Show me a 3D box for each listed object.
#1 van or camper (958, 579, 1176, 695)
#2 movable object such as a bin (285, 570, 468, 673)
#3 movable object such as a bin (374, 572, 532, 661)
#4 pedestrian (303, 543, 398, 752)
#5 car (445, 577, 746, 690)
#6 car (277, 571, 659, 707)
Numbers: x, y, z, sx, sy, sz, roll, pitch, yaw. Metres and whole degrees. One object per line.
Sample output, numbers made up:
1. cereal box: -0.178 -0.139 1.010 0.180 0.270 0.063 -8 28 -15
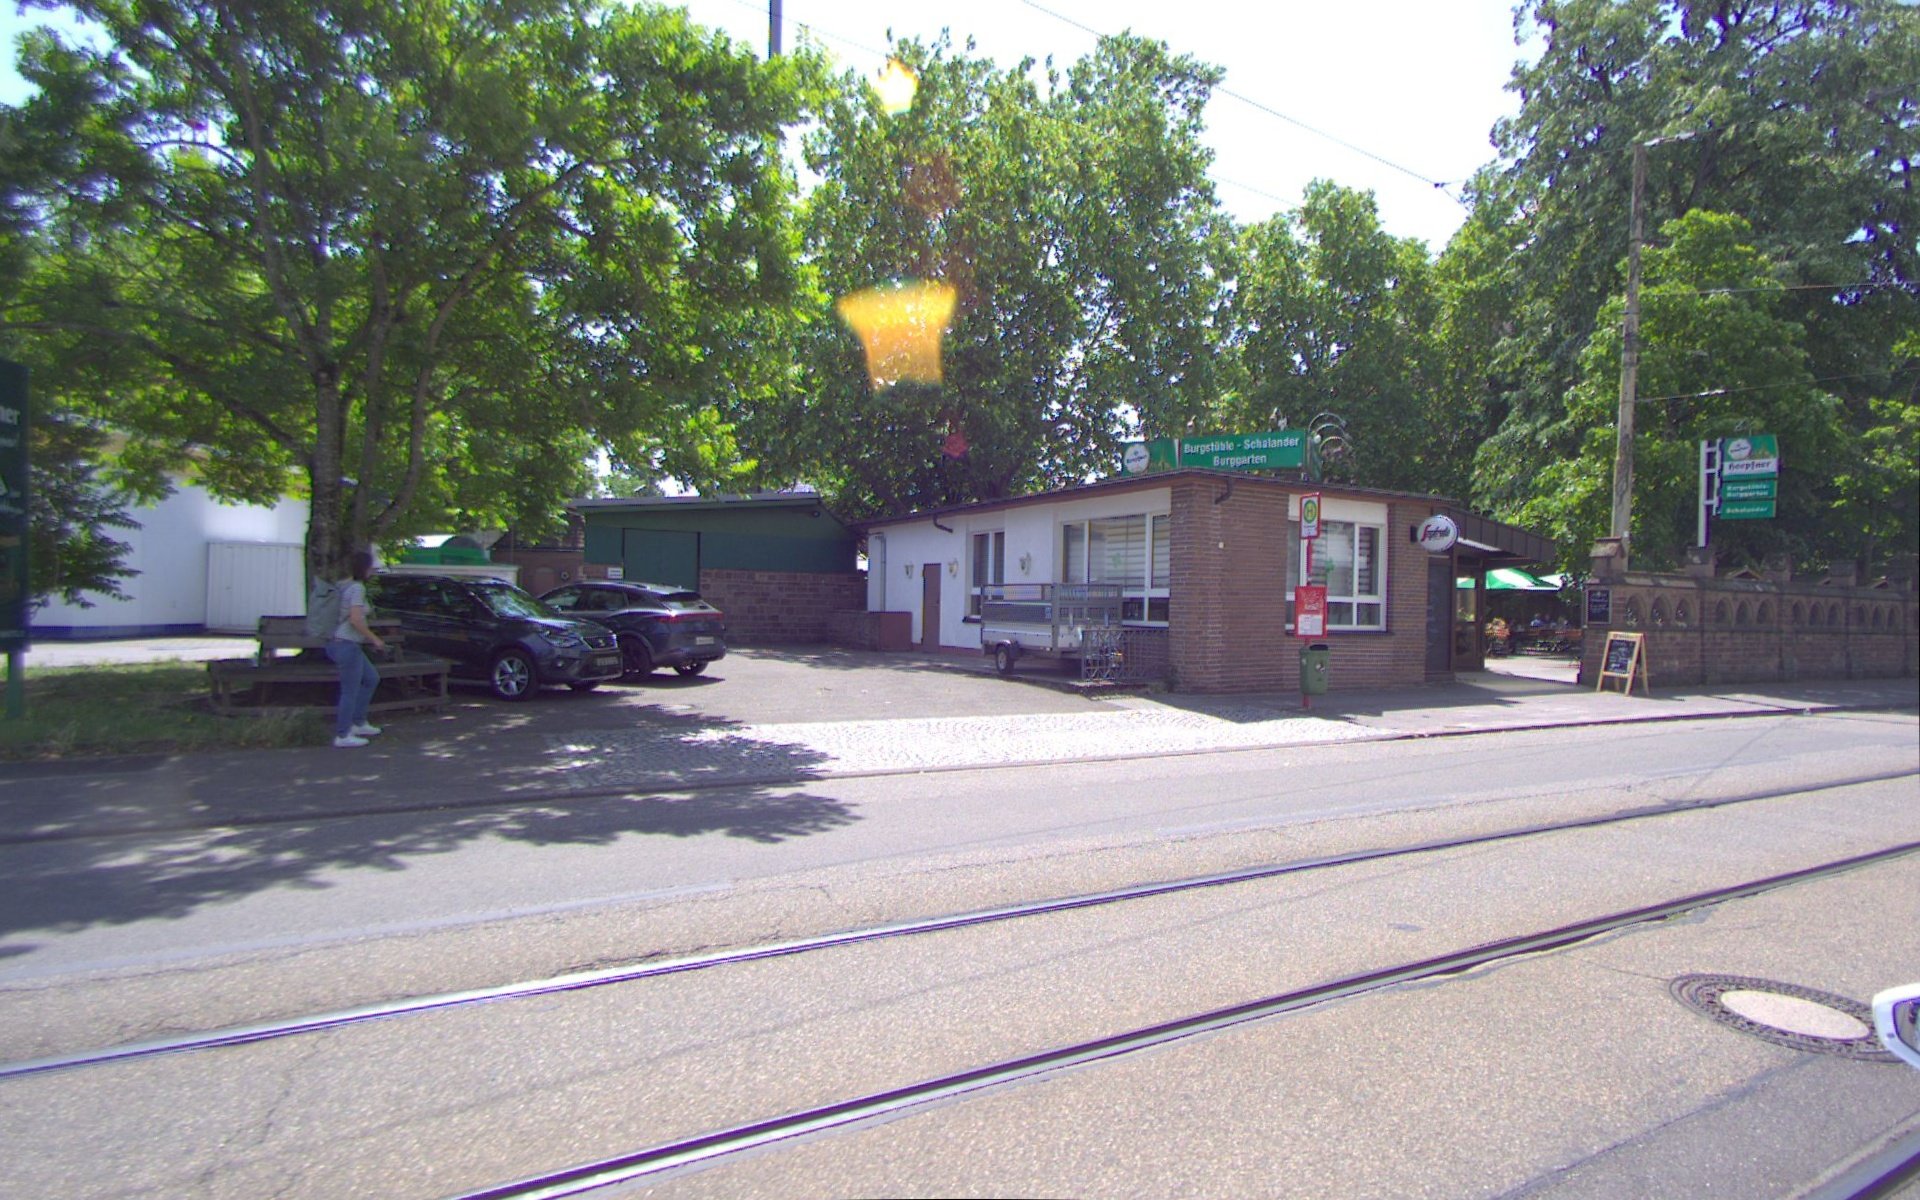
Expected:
1. van or camper: 1.670 0.521 16.946 1.848 1.651 3.767 0 2 -28
2. movable object such as a bin: -9.319 0.317 16.161 2.059 1.529 1.525 2 1 -4
3. movable object such as a bin: -8.935 0.272 17.833 2.059 1.451 1.525 2 1 -4
4. pedestrian: -5.478 0.406 9.041 0.692 1.799 0.576 1 2 -32
5. car: -5.900 0.468 16.328 4.363 1.508 1.935 2 2 20
6. car: -6.580 0.449 13.629 4.361 1.508 1.936 2 1 11
